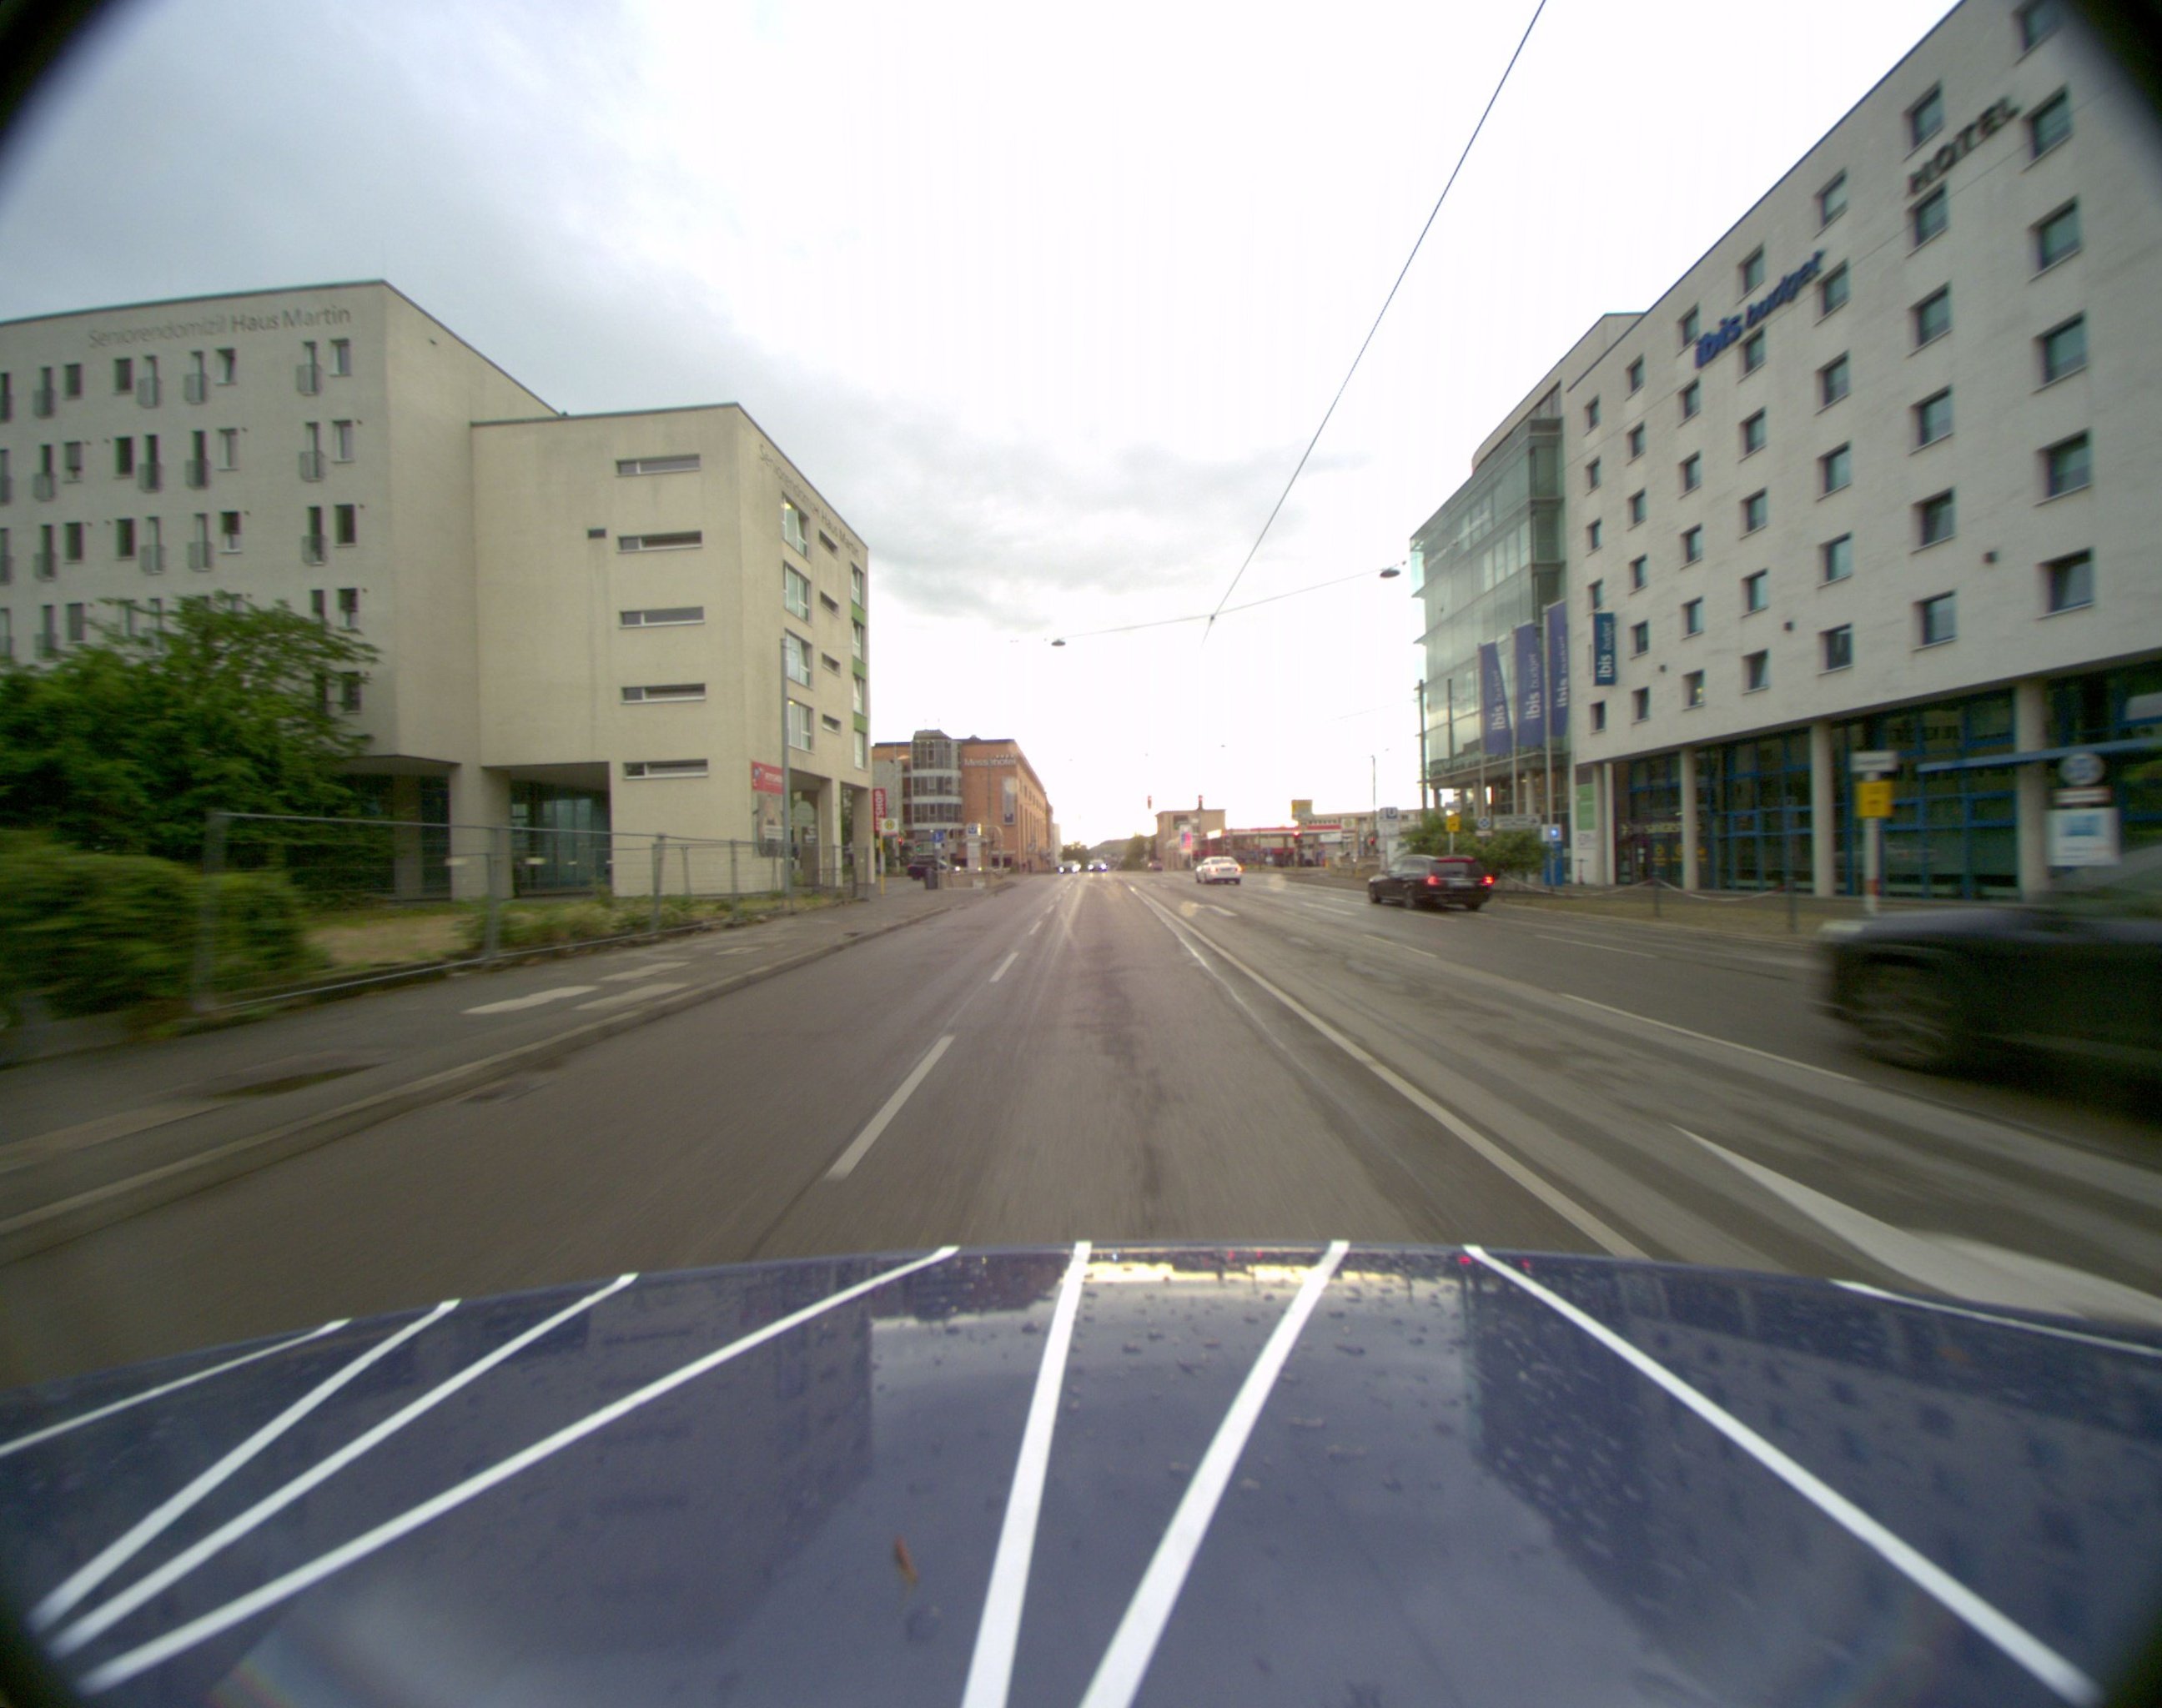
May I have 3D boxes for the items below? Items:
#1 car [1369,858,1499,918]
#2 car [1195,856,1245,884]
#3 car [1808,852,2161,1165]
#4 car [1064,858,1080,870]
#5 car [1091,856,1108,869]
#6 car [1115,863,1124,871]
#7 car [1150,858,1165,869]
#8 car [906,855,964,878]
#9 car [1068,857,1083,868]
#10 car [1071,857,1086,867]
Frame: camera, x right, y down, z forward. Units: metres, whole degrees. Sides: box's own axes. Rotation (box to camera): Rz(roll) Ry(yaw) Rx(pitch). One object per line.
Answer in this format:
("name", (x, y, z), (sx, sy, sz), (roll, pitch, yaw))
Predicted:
("car", (9.777, 0.908, 21.480), (1.737, 1.468, 4.701), (1, -1, 4))
("car", (7.550, 0.822, 41.624), (1.822, 1.379, 4.963), (-1, 0, 0))
("car", (6.225, 0.768, 3.369), (1.760, 1.546, 4.451), (1, -1, 0))
("car", (-1.069, 1.167, 90.440), (1.649, 1.313, 4.000), (-2, 0, 1))
("car", (2.218, 1.037, 91.439), (1.964, 1.516, 4.262), (-2, 0, 1))
("car", (8.418, 2.879, 167.231), (1.857, 1.758, 4.131), (1, 0, 1))
("car", (12.194, 1.508, 121.362), (1.913, 1.622, 4.210), (-1, 0, -1))
("car", (-11.165, 0.965, 58.171), (3.996, 1.565, 2.000), (1, 2, 4))
("car", (-0.673, 1.089, 97.686), (1.696, 1.392, 4.089), (-2, 0, 3))
("car", (-0.316, 1.091, 104.653), (1.696, 1.392, 4.089), (-2, 0, 3))
